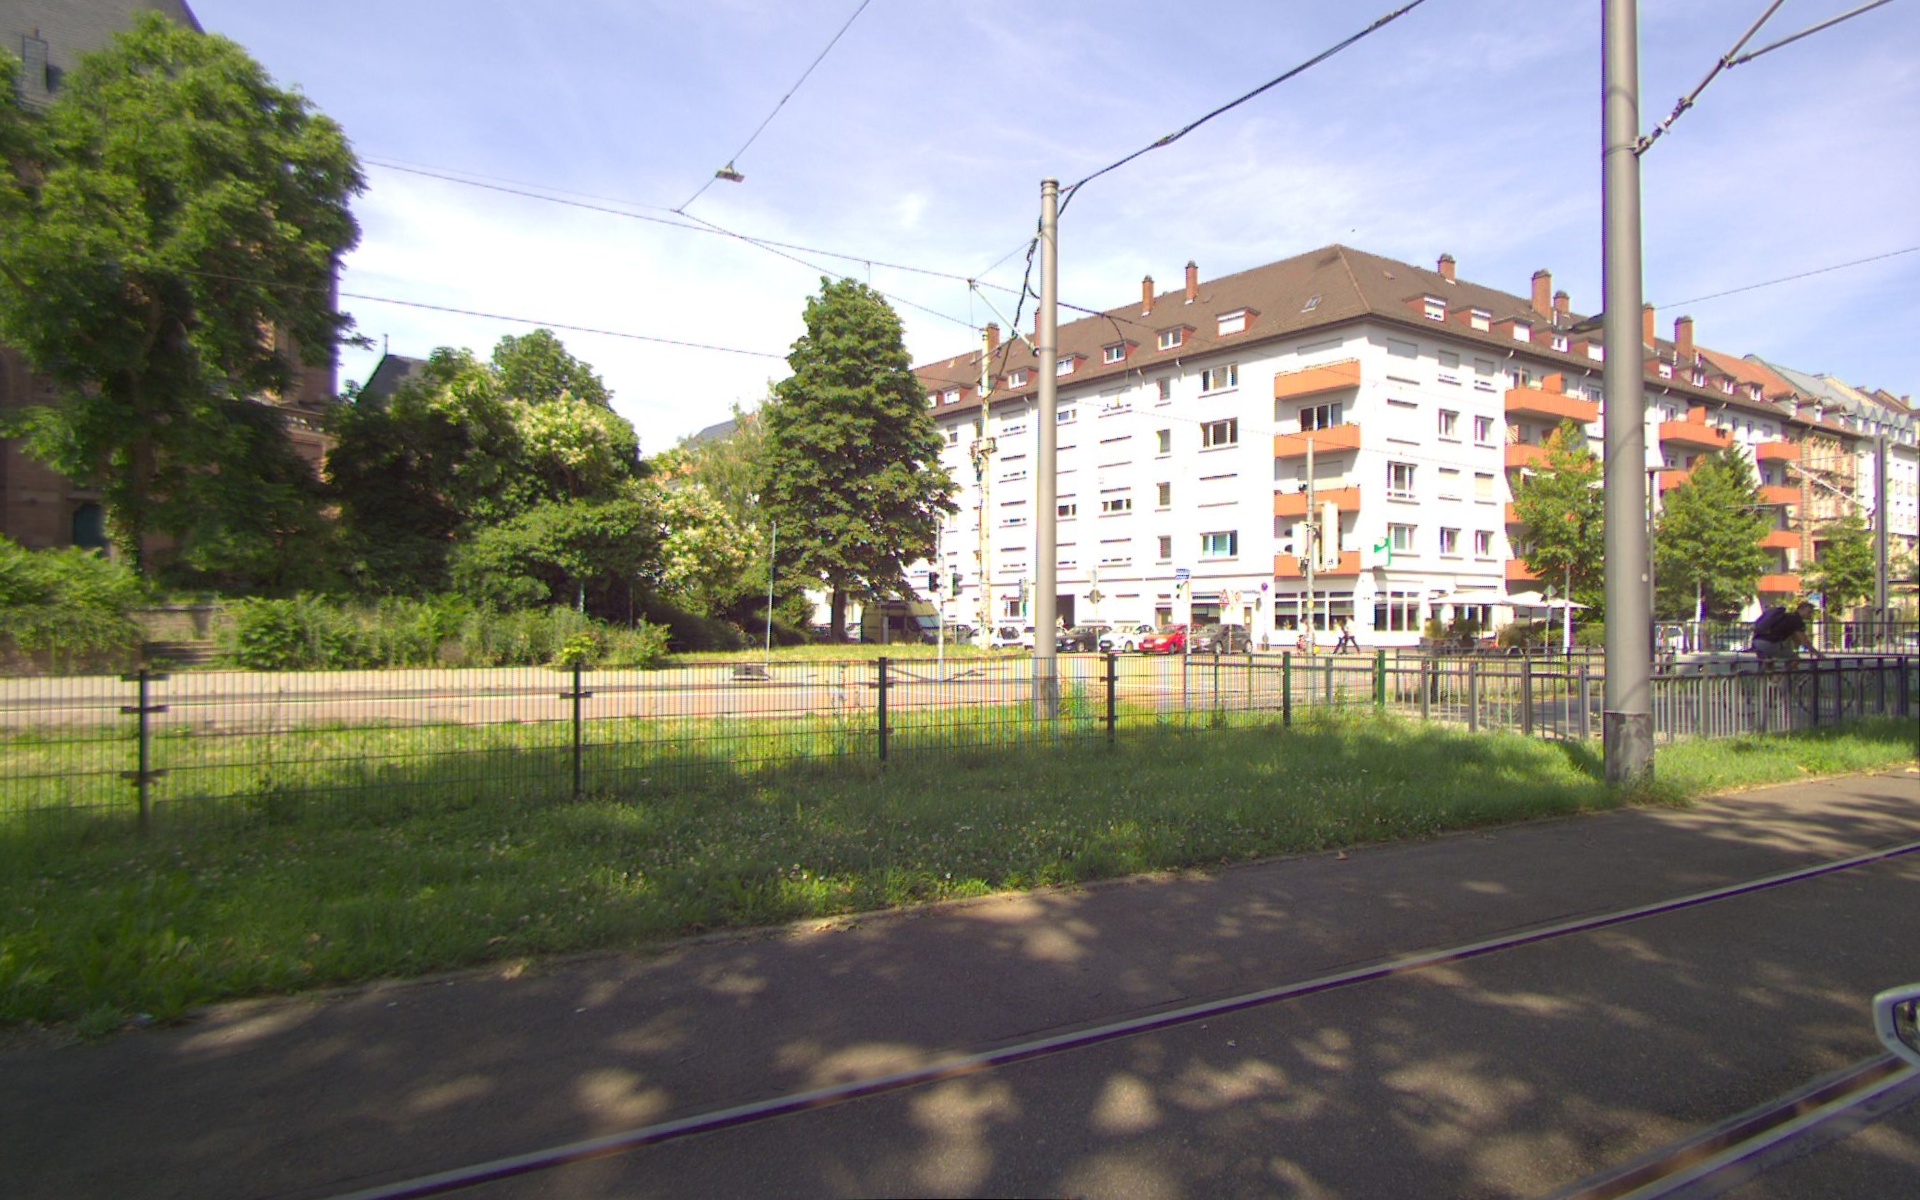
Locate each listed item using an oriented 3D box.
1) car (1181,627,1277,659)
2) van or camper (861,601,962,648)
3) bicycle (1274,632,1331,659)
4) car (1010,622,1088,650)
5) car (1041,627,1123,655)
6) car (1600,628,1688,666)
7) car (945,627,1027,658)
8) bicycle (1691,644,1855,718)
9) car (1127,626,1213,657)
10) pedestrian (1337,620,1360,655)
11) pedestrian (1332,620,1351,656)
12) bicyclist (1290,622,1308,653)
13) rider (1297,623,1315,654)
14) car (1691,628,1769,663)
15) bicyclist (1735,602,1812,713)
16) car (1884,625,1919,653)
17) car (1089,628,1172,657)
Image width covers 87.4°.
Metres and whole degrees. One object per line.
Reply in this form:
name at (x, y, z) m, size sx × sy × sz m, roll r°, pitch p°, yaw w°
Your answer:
car at (12.444, 1.940, 46.400) m, size 4.598 × 1.394 × 1.821 m, roll 1°, pitch -2°, yaw -36°
van or camper at (-2.618, 1.278, 52.625) m, size 2.228 × 2.360 × 5.704 m, roll 1°, pitch -2°, yaw -42°
bicycle at (15.207, 1.981, 44.536) m, size 2.779 × 1.152 × 0.905 m, roll 1°, pitch -1°, yaw -34°
car at (4.919, 1.954, 55.184) m, size 4.129 × 1.425 × 1.917 m, roll 1°, pitch -1°, yaw -38°
car at (6.441, 2.128, 52.870) m, size 4.129 × 1.425 × 1.918 m, roll 1°, pitch -2°, yaw -38°
car at (28.342, 1.928, 41.586) m, size 3.961 × 1.518 × 1.759 m, roll 1°, pitch -3°, yaw -36°
car at (1.215, 2.027, 48.234) m, size 3.702 × 1.425 × 1.823 m, roll -1°, pitch -2°, yaw 44°
bicycle at (12.225, 1.205, 15.142) m, size 1.887 × 1.063 × 0.533 m, roll 0°, pitch -1°, yaw 11°
car at (10.275, 1.993, 48.993) m, size 4.129 × 1.425 × 1.918 m, roll 1°, pitch -2°, yaw -38°
pedestrian at (17.614, 1.695, 45.515) m, size 0.846 × 1.593 × 0.688 m, roll -1°, pitch -1°, yaw 36°
pedestrian at (17.126, 1.713, 45.086) m, size 0.679 × 1.593 × 0.544 m, roll 0°, pitch -1°, yaw 36°
bicyclist at (15.869, 1.738, 47.053) m, size 0.616 × 1.442 × 0.587 m, roll -1°, pitch -1°, yaw 44°
rider at (16.333, 1.810, 47.446) m, size 0.616 × 1.442 × 0.587 m, roll -1°, pitch -1°, yaw 44°
car at (35.345, 2.070, 46.079) m, size 3.961 × 1.518 × 1.759 m, roll 1°, pitch -3°, yaw -36°
bicyclist at (12.245, 0.852, 15.140) m, size 0.681 × 1.644 × 0.625 m, roll 0°, pitch -1°, yaw 10°
car at (54.015, 2.203, 56.850) m, size 3.961 × 1.518 × 1.758 m, roll 1°, pitch -2°, yaw -36°
car at (8.731, 2.123, 51.307) m, size 4.129 × 1.425 × 1.918 m, roll 1°, pitch -2°, yaw -38°
